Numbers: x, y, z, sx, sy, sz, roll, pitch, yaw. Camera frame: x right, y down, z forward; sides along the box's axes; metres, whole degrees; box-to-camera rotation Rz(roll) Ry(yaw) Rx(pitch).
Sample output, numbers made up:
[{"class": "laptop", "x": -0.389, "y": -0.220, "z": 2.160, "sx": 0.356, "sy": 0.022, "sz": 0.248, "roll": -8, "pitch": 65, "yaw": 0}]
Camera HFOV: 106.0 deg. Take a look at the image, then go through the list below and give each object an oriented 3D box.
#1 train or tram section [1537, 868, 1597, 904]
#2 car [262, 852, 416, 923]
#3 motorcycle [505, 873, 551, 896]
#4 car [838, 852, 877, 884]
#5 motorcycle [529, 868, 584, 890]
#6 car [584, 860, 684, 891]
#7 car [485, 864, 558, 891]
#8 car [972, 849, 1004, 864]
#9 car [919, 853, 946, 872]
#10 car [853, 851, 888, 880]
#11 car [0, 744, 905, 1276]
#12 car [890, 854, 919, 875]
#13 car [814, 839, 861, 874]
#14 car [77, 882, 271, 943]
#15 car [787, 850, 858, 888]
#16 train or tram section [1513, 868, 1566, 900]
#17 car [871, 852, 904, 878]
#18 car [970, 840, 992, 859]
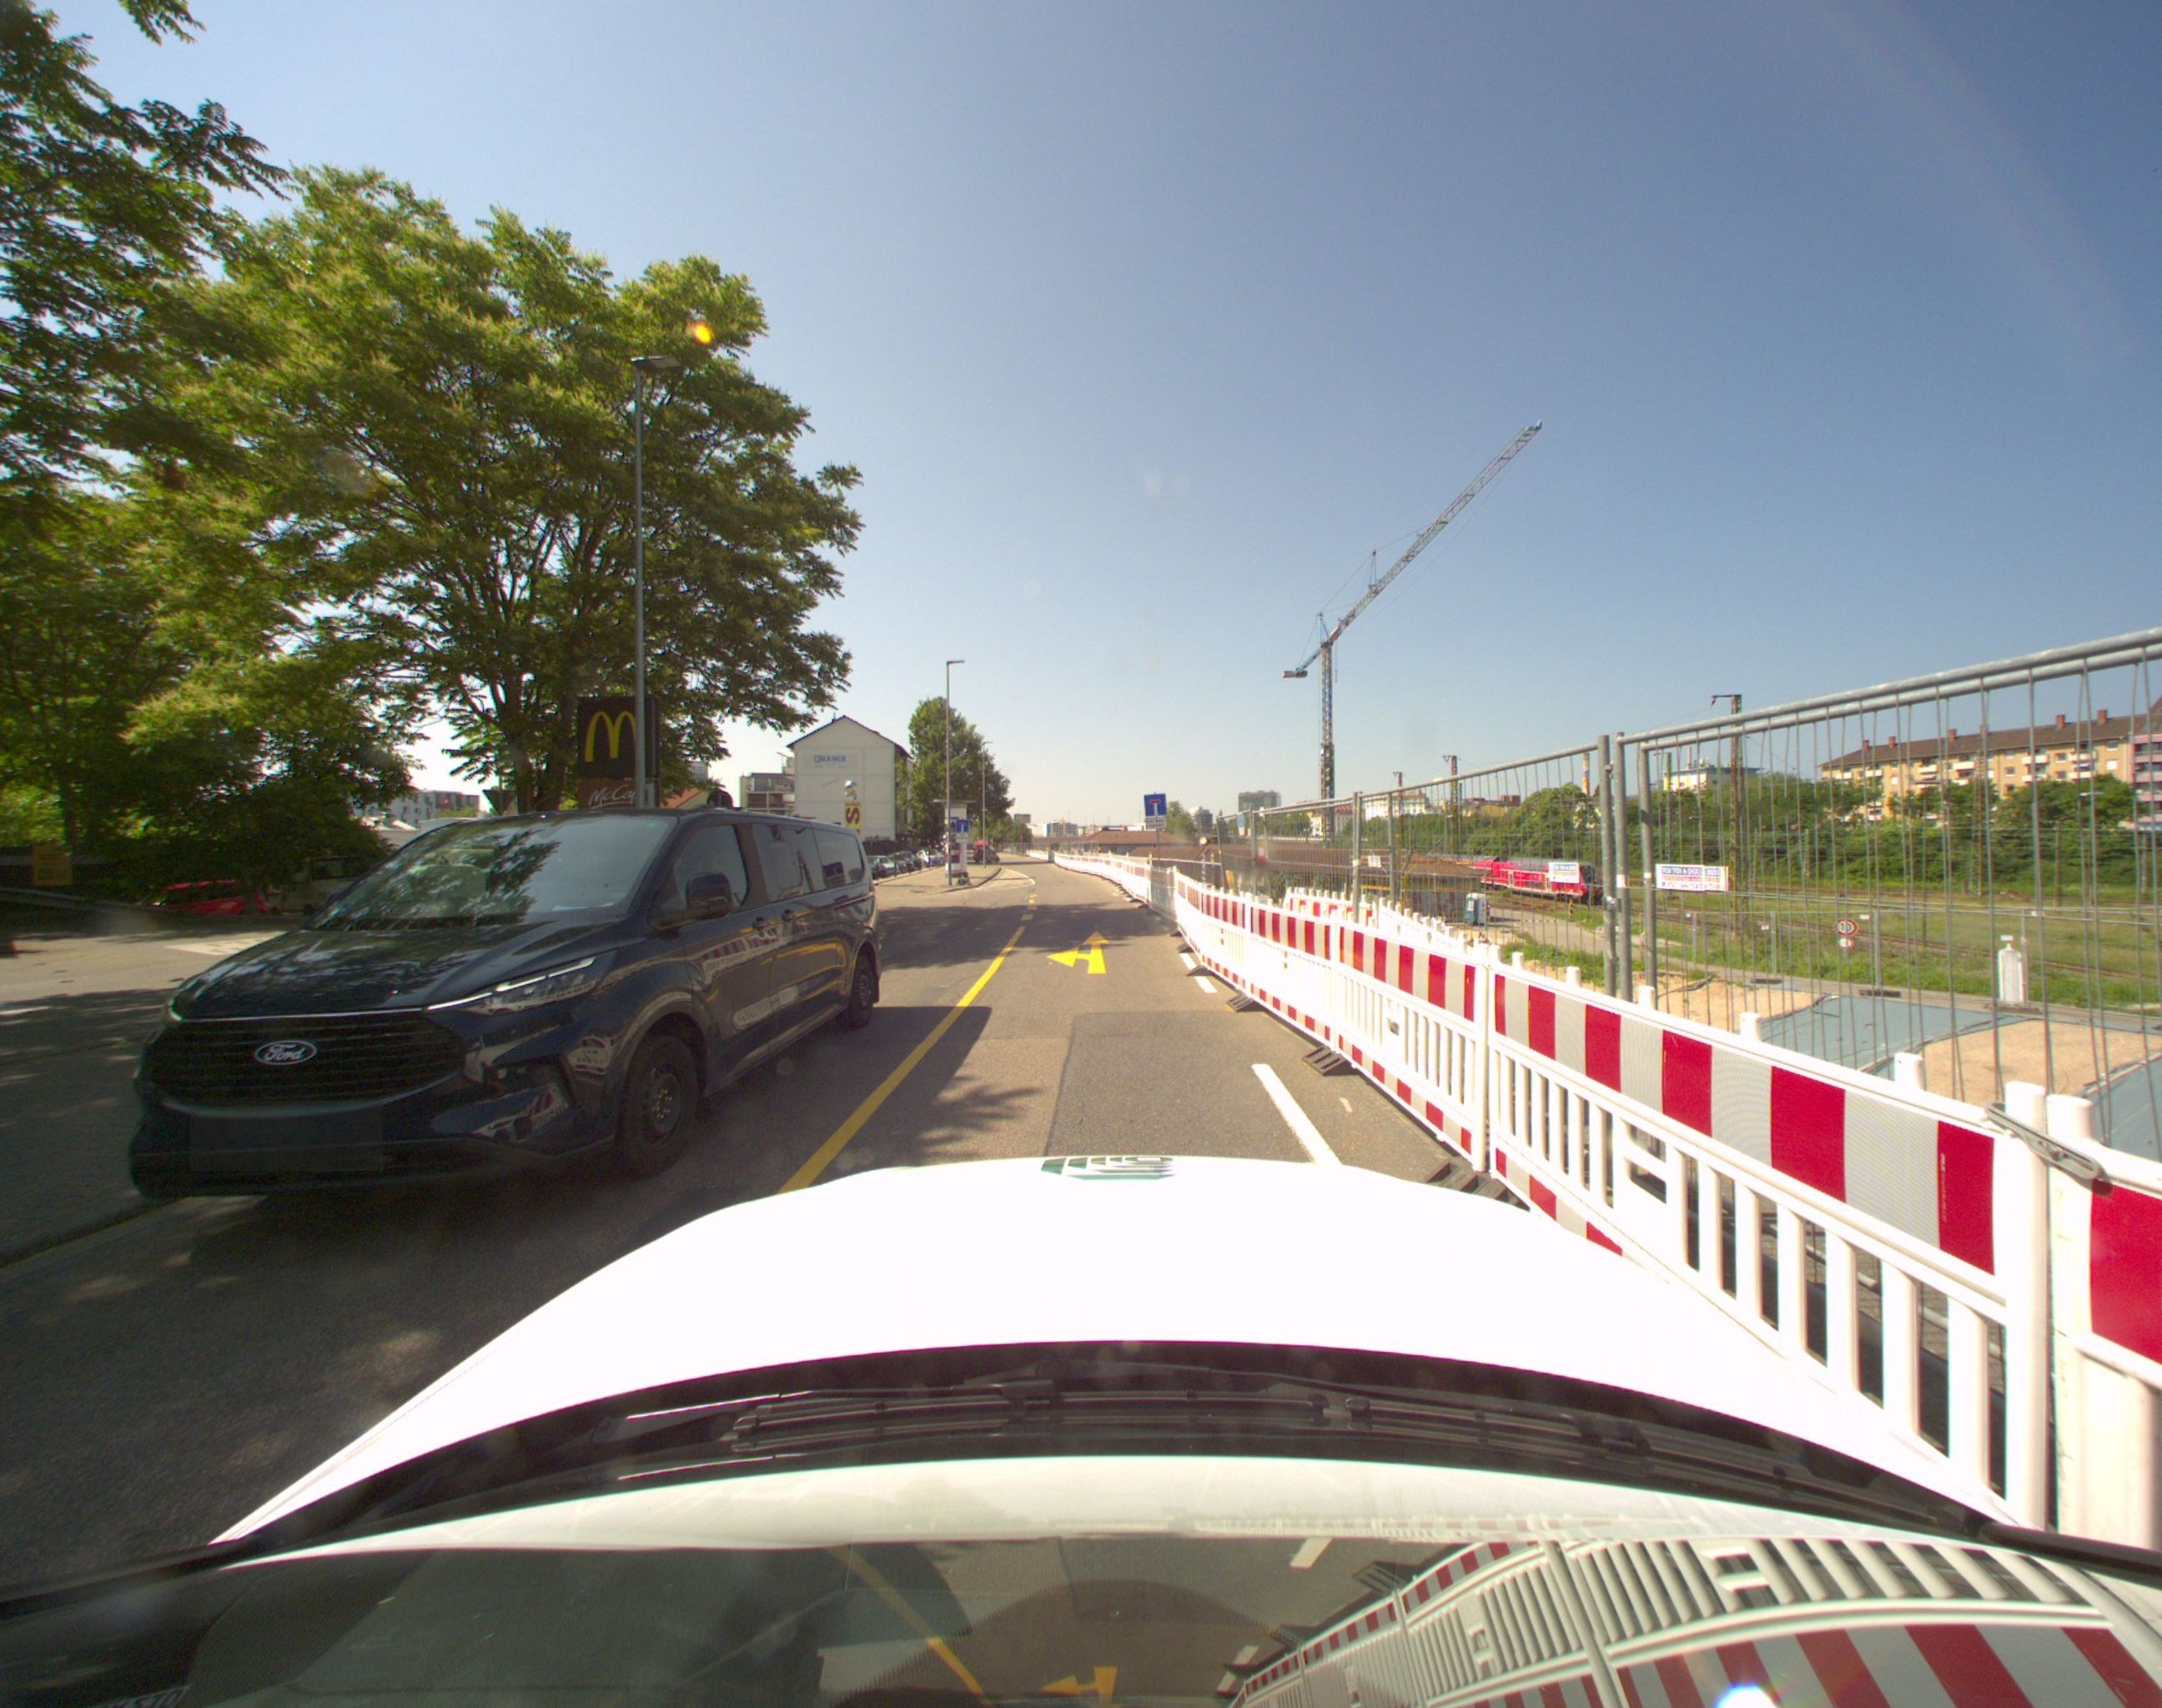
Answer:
[{"class": "train or tram section", "x": 55.286, "y": 3.589, "z": 92.887, "sx": 2.995, "sy": 3.701, "sz": 9.000, "roll": 2, "pitch": 0, "yaw": 11}, {"class": "car", "x": -18.986, "y": 0.765, "z": 20.759, "sx": 4.966, "sy": 1.583, "sz": 1.970, "roll": 0, "pitch": 0, "yaw": 37}, {"class": "motorcycle", "x": -30.230, "y": 1.649, "z": 44.540, "sx": 0.779, "sy": 1.158, "sz": 1.886, "roll": -1, "pitch": -1, "yaw": 38}, {"class": "car", "x": -12.193, "y": 0.720, "z": 44.313, "sx": 1.861, "sy": 1.629, "sz": 3.976, "roll": -1, "pitch": 0, "yaw": -18}, {"class": "motorcycle", "x": -30.877, "y": 1.435, "z": 48.006, "sx": 0.988, "sy": 1.227, "sz": 2.731, "roll": 0, "pitch": -1, "yaw": 18}, {"class": "car", "x": -23.806, "y": 1.111, "z": 43.419, "sx": 4.358, "sy": 1.585, "sz": 1.976, "roll": 0, "pitch": -1, "yaw": -41}, {"class": "car", "x": -34.276, "y": 1.389, "z": 49.870, "sx": 3.950, "sy": 1.585, "sz": 2.012, "roll": 0, "pitch": -1, "yaw": 27}, {"class": "car", "x": -10.662, "y": 0.298, "z": 93.276, "sx": 3.300, "sy": 1.637, "sz": 1.705, "roll": 0, "pitch": -1, "yaw": -45}, {"class": "car", "x": -13.183, "y": 0.694, "z": 72.123, "sx": 1.861, "sy": 1.629, "sz": 3.976, "roll": -1, "pitch": 0, "yaw": -18}, {"class": "car", "x": -12.891, "y": 0.669, "z": 49.806, "sx": 1.861, "sy": 1.629, "sz": 3.976, "roll": -1, "pitch": 0, "yaw": -18}, {"class": "car", "x": -3.085, "y": 0.626, "z": 5.906, "sx": 2.168, "sy": 1.968, "sz": 5.446, "roll": -3, "pitch": 0, "yaw": 2}, {"class": "car", "x": -13.966, "y": 0.800, "z": 64.180, "sx": 1.861, "sy": 1.629, "sz": 3.976, "roll": -1, "pitch": 0, "yaw": -18}, {"class": "car", "x": -16.800, "y": 0.168, "z": 56.356, "sx": 2.132, "sy": 2.284, "sz": 4.703, "roll": -1, "pitch": 0, "yaw": -5}, {"class": "car", "x": -25.963, "y": 1.608, "z": 23.445, "sx": 1.468, "sy": 1.378, "sz": 3.436, "roll": 1, "pitch": 2, "yaw": 27}, {"class": "car", "x": -12.509, "y": 0.720, "z": 39.309, "sx": 2.009, "sy": 1.725, "sz": 3.955, "roll": 0, "pitch": -1, "yaw": -38}, {"class": "train or tram section", "x": 57.091, "y": 3.664, "z": 101.683, "sx": 2.995, "sy": 3.714, "sz": 9.000, "roll": 2, "pitch": 0, "yaw": 11}, {"class": "car", "x": -13.187, "y": 0.720, "z": 55.394, "sx": 1.861, "sy": 1.629, "sz": 3.976, "roll": -1, "pitch": 0, "yaw": -18}, {"class": "car", "x": -13.066, "y": -0.560, "z": 107.095, "sx": 2.532, "sy": 2.520, "sz": 5.112, "roll": 0, "pitch": -1, "yaw": -3}]
